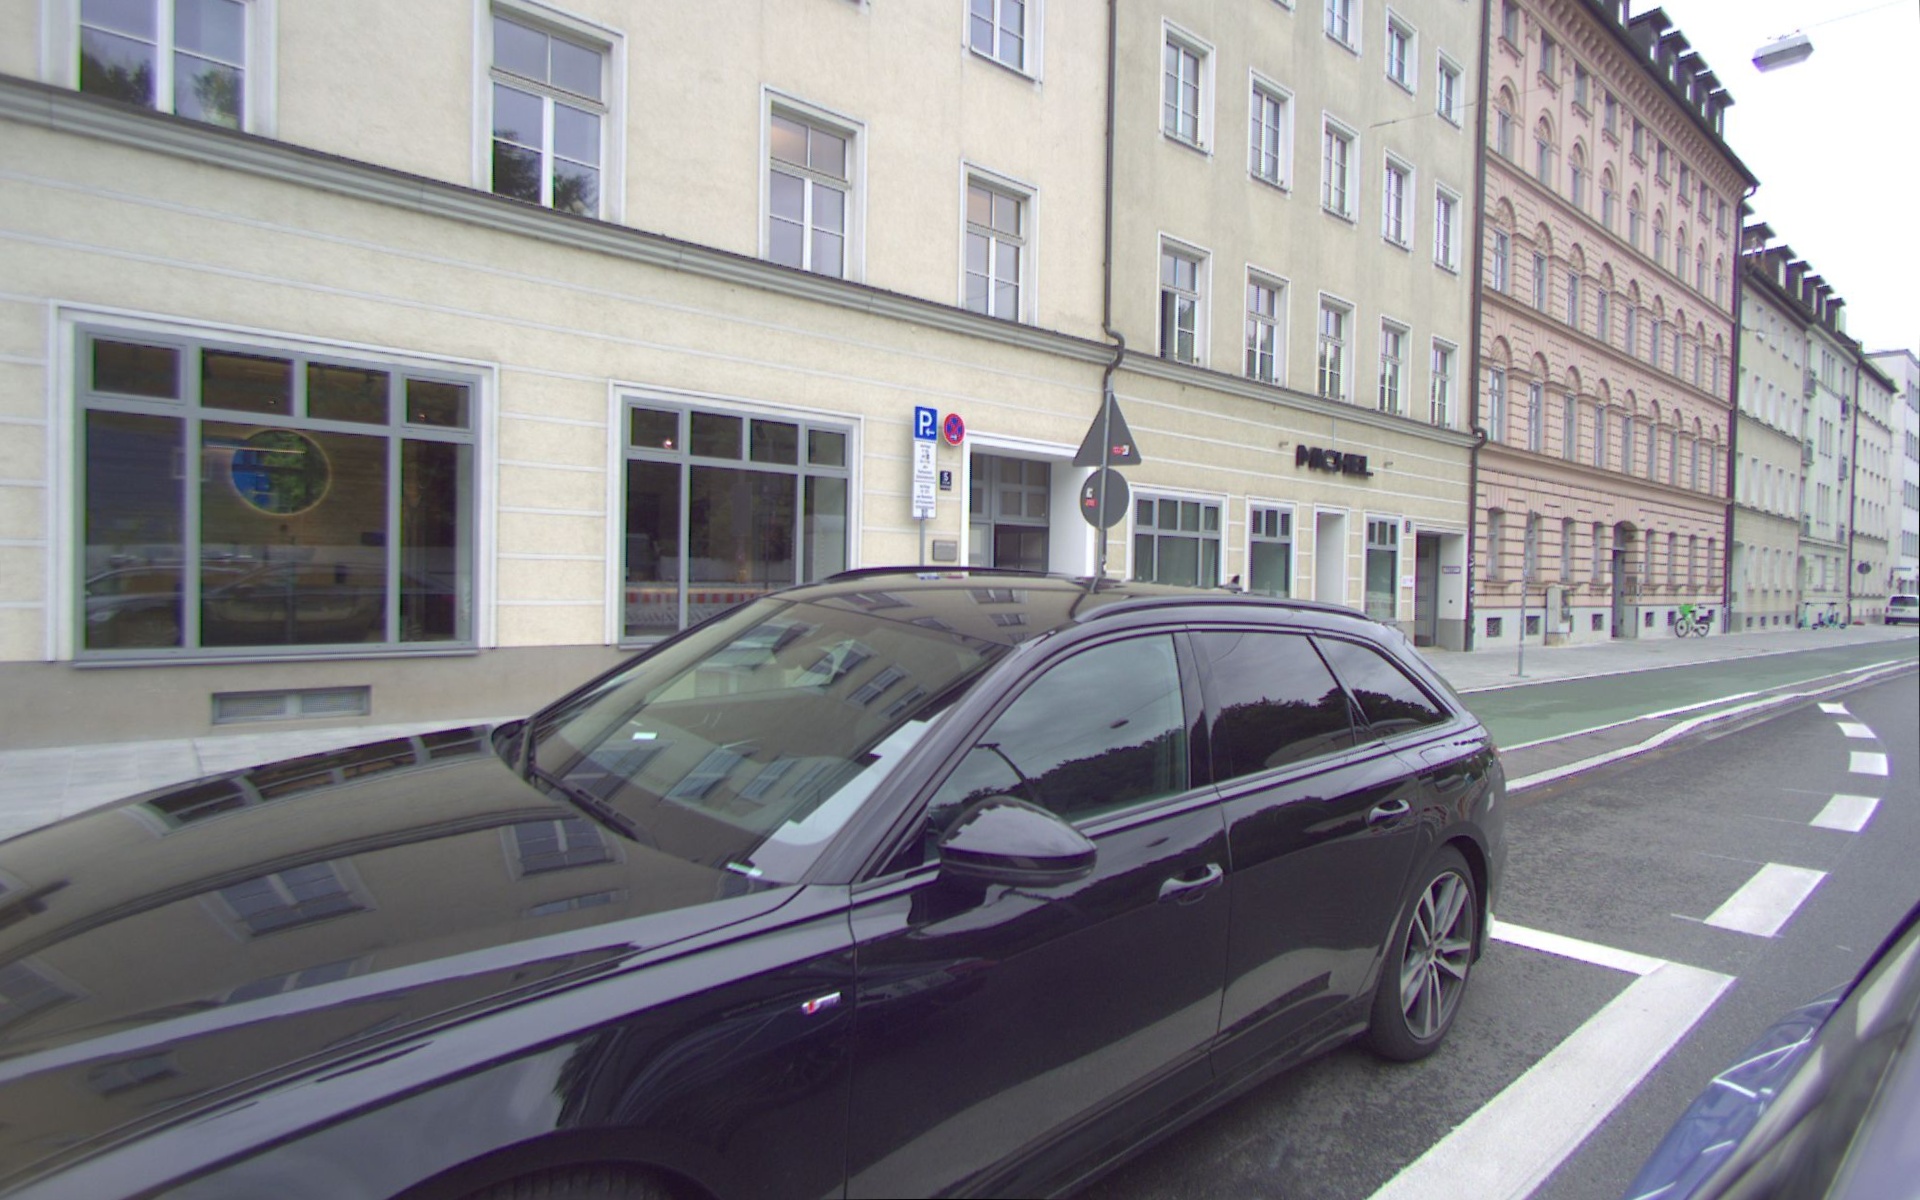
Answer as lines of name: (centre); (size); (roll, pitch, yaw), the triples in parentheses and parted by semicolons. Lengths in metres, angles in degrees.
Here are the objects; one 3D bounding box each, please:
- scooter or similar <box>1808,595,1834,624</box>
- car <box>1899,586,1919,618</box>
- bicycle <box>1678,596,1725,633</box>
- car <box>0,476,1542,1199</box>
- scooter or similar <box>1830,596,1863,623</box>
scooter or similar: (38.924, 0.423, 45.735); (1.096, 1.246, 0.248); (1, 2, -14)
car: (56.421, 0.129, 59.105); (4.356, 1.771, 1.737); (1, 2, -40)
bicycle: (24.856, 0.482, 33.907); (1.695, 1.188, 0.428); (1, 1, -23)
car: (-0.270, 0.598, 2.657); (4.607, 1.498, 1.804); (0, 3, -43)
scooter or similar: (42.646, 0.438, 48.698); (1.105, 1.246, 0.246); (3, 3, 18)
